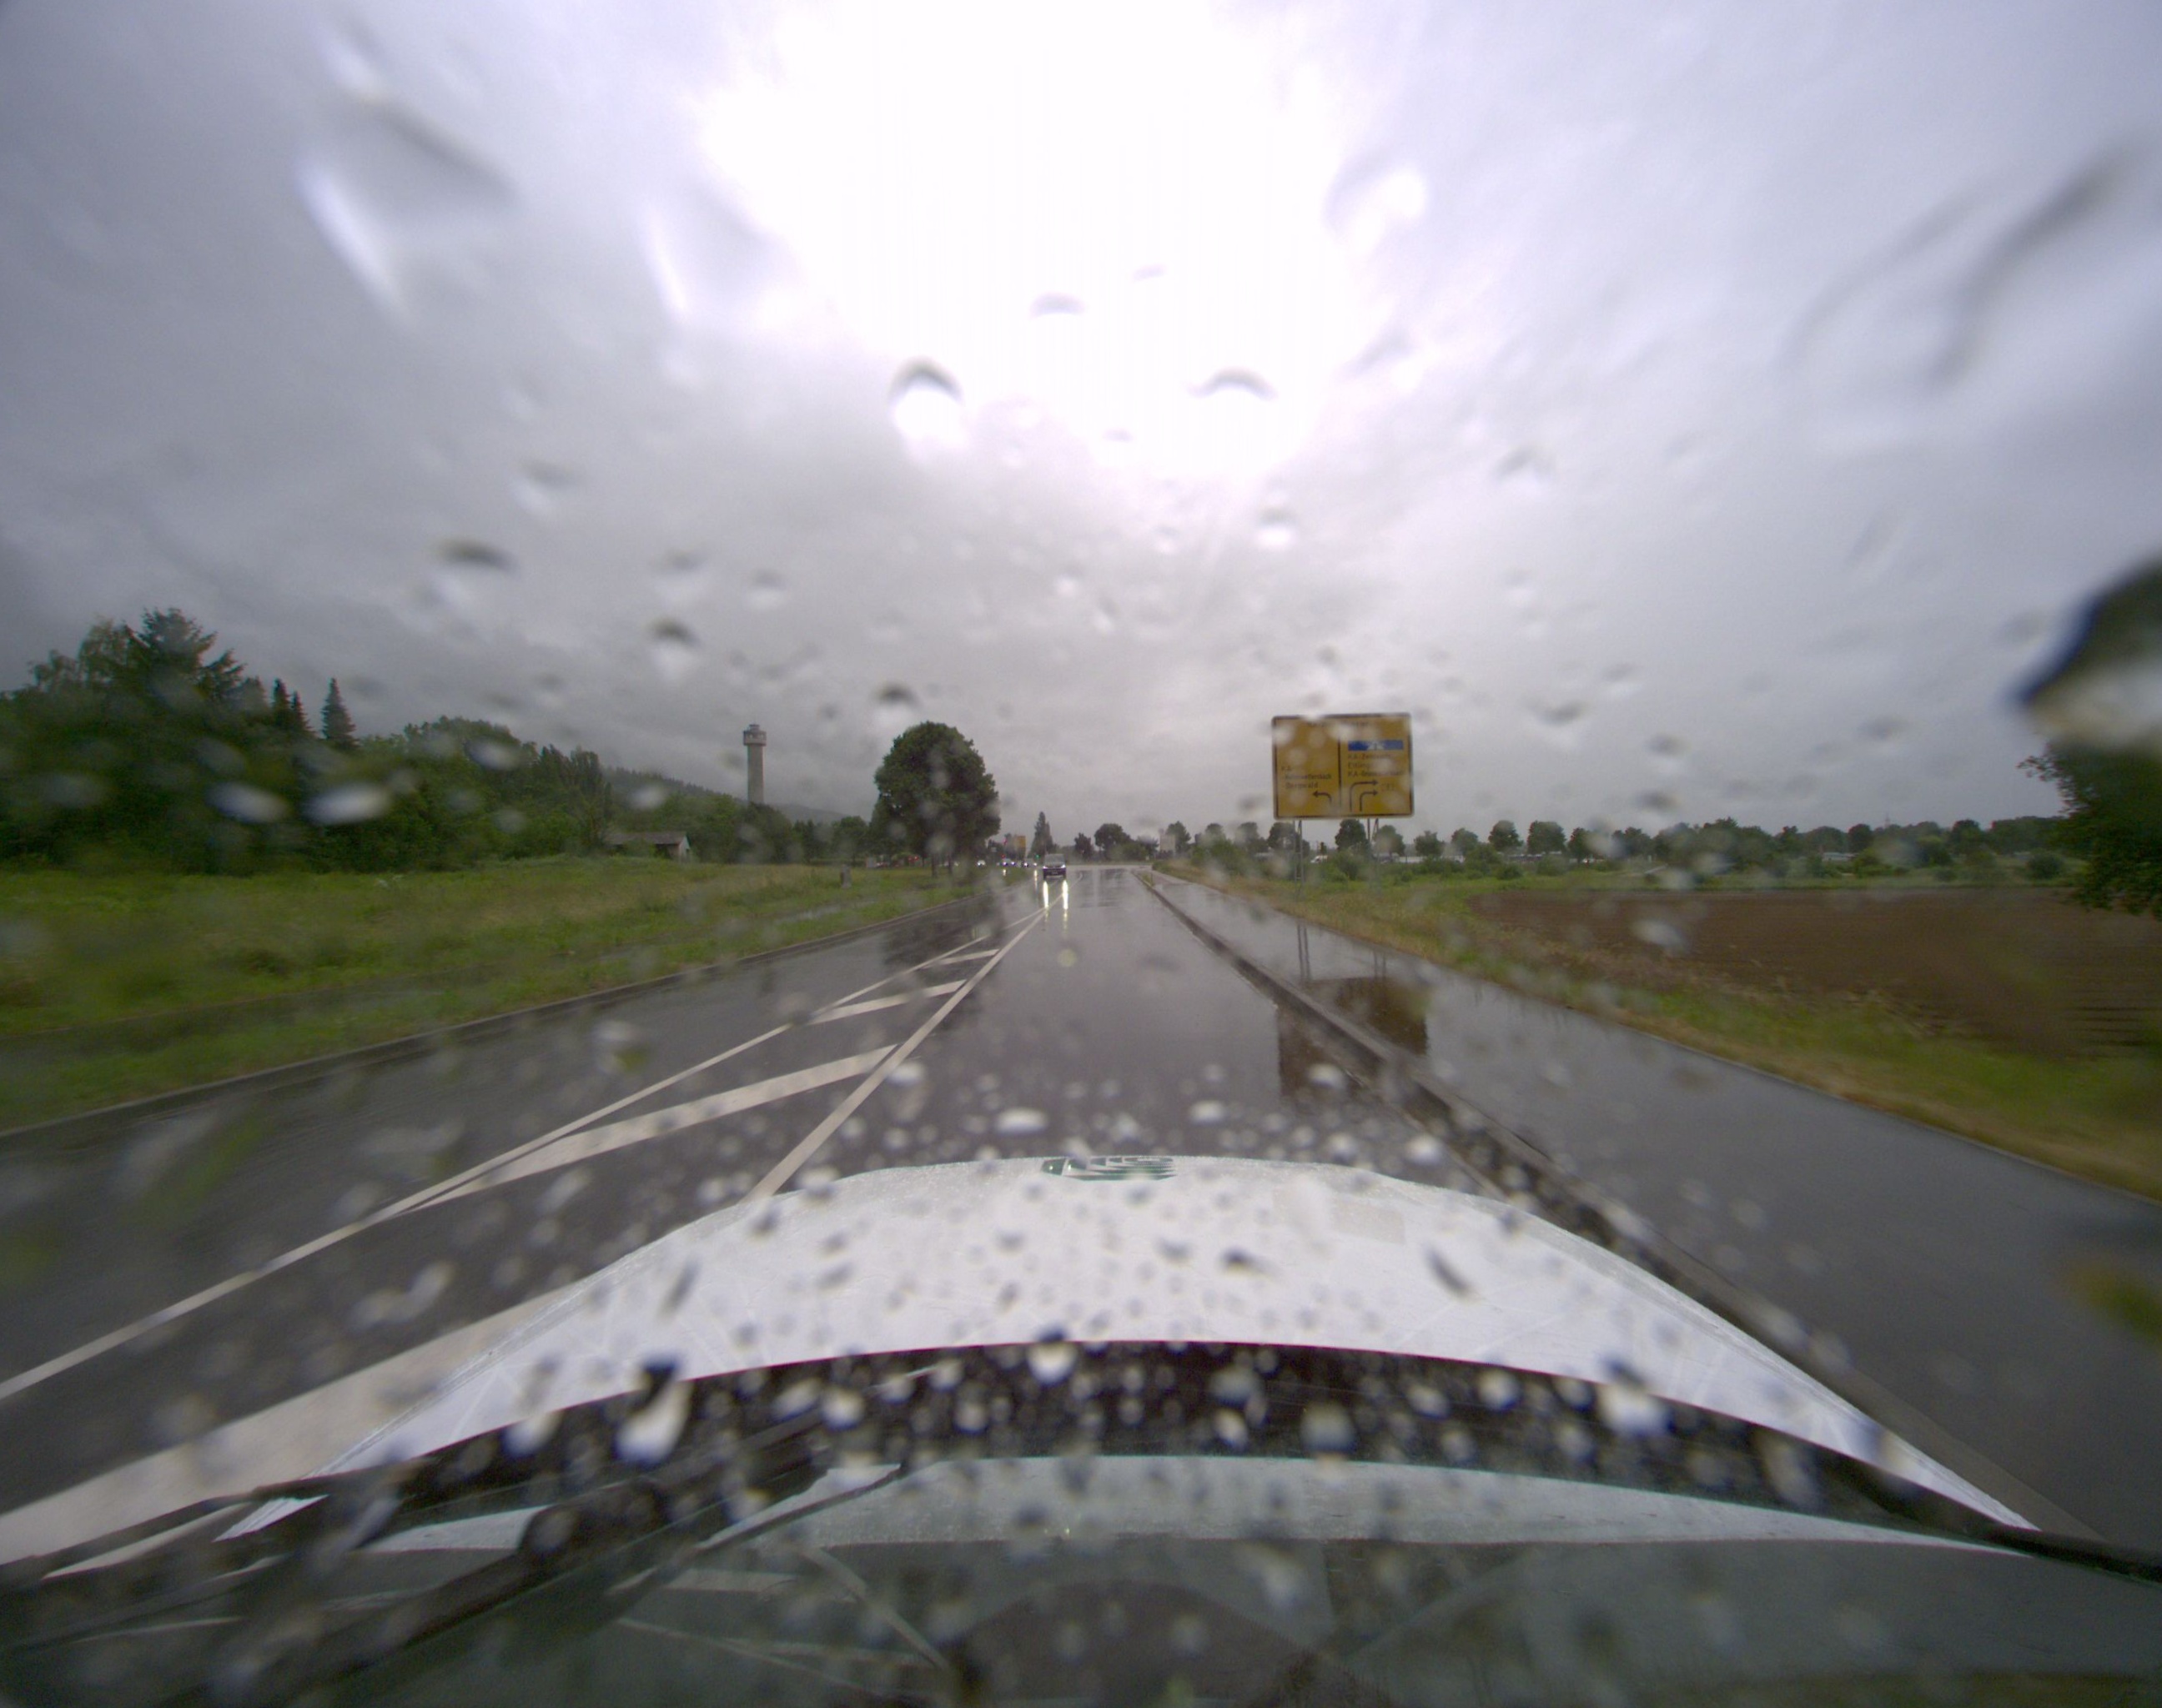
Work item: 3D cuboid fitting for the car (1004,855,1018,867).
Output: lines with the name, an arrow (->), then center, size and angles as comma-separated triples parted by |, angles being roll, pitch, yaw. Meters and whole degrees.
car -> -12.262, 1.280, 142.156 | 1.996, 2.014, 3.982 | 0, -1, -13

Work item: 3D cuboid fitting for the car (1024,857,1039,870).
car -> -7.262, 1.447, 119.326 | 1.902, 1.721, 3.992 | -5, 0, -5

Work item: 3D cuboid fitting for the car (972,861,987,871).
car -> -22.570, 2.696, 181.338 | 2.004, 2.014, 3.966 | 1, -1, -26

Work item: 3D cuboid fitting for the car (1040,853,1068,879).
car -> -2.201, 0.991, 67.141 | 1.987, 1.972, 4.957 | -3, 0, 1
